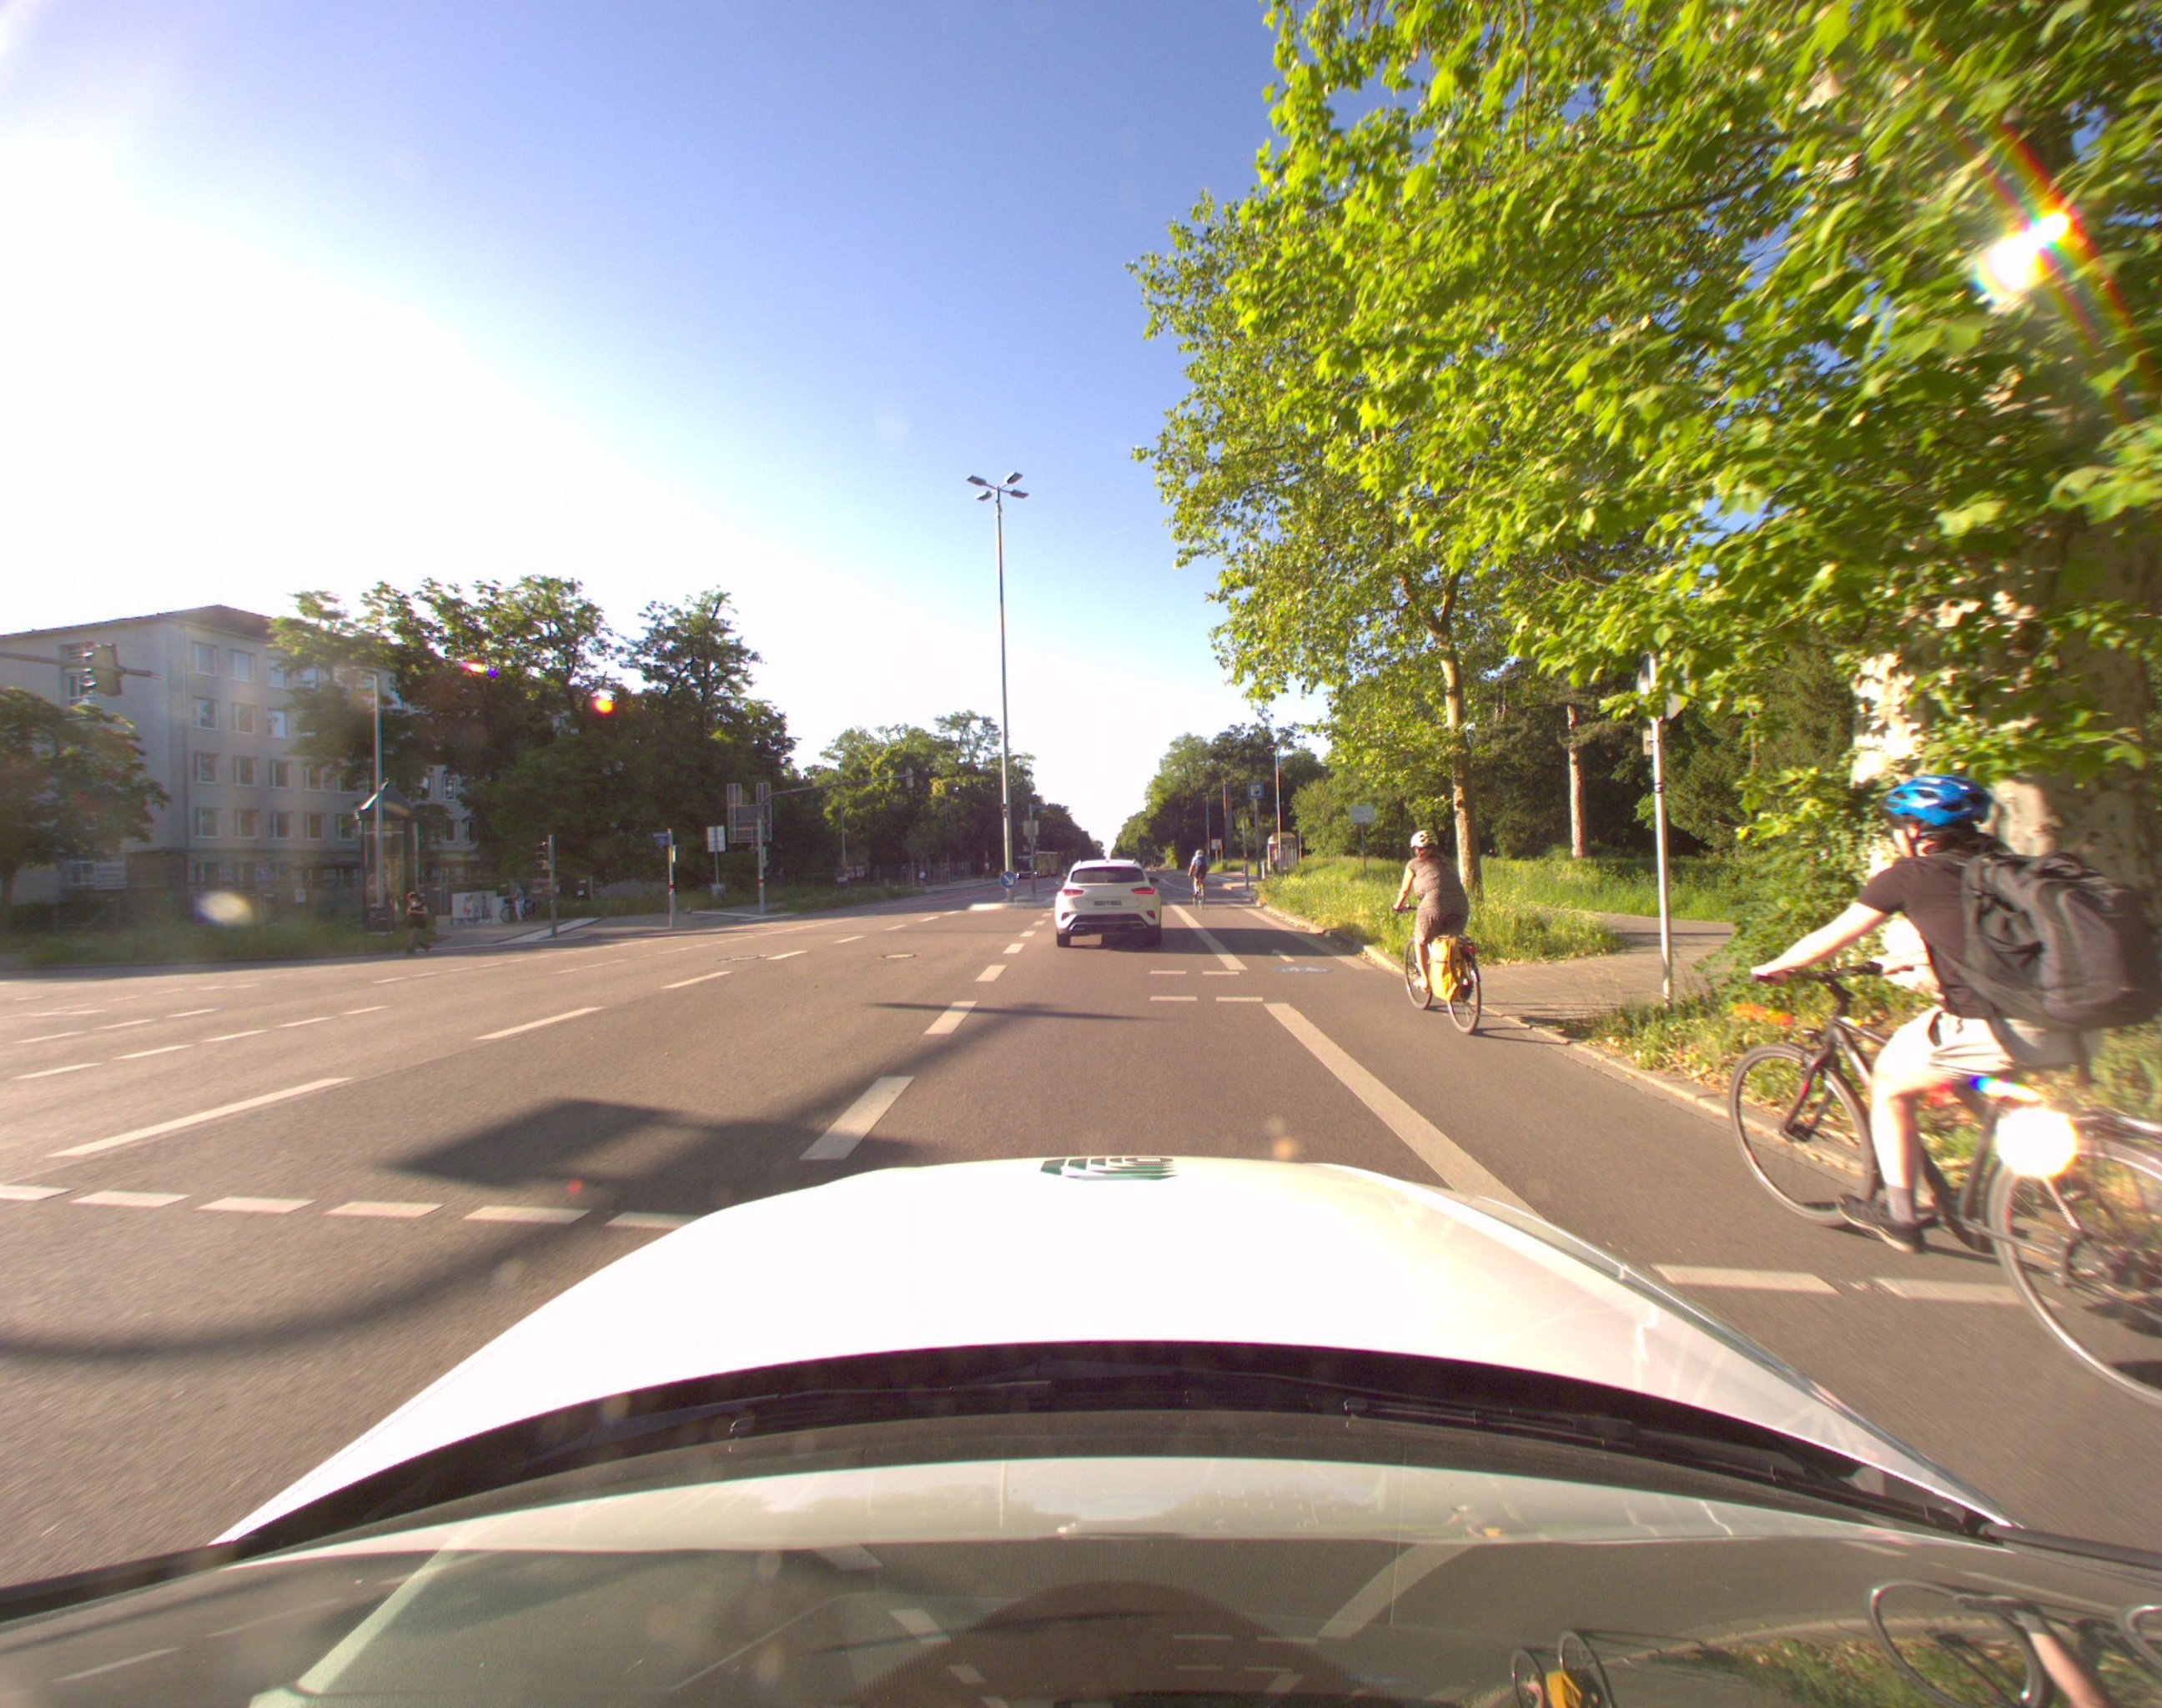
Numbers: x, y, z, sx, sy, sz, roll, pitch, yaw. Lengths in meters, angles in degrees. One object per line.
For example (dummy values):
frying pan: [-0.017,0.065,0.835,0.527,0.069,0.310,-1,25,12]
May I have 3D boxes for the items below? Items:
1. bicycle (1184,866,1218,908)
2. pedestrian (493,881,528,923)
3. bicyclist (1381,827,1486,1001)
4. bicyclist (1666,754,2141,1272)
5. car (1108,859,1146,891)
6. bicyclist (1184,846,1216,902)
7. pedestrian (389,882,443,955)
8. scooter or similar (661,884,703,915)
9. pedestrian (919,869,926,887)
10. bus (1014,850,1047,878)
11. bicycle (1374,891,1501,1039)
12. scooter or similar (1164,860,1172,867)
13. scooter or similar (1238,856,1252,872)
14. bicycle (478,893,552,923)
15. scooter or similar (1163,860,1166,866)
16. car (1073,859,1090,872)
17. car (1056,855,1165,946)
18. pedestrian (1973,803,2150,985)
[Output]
bicycle: [3.412,0.913,23.265,0.886,1.095,2.141,-1,0,8]
pedestrian: [-23.955,1.991,34.203,0.972,1.696,0.644,-3,-1,7]
bicyclist: [3.204,0.527,7.471,0.688,1.490,0.803,-3,-1,13]
bicyclist: [2.767,0.472,2.871,0.691,1.501,0.892,-3,-1,0]
car: [2.311,1.011,40.194,1.668,1.417,3.579,-3,-1,6]
bicyclist: [3.384,0.559,23.117,0.855,1.567,0.883,-1,-1,8]
pedestrian: [-17.257,1.656,21.146,0.738,1.816,0.729,-3,-1,11]
scooter or similar: [-17.852,2.040,36.421,0.686,1.294,1.505,-3,-1,32]
pedestrian: [-13.225,2.004,68.047,0.449,1.534,0.571,-3,-1,-1]
bus: [-6.110,1.250,99.924,2.827,3.197,8.609,-3,-1,4]
bicycle: [3.279,0.957,7.688,0.688,1.095,2.144,-3,-1,14]
scooter or similar: [16.259,1.789,152.464,1.549,1.250,0.528,-2,-1,-41]
scooter or similar: [13.832,0.842,68.575,0.715,1.247,1.336,-4,-2,26]
bicycle: [-24.095,2.283,34.675,2.557,1.136,0.982,-3,-1,7]
scooter or similar: [17.410,1.893,170.299,0.531,1.250,1.542,-2,-1,3]
car: [0.070,1.374,99.050,1.703,1.421,4.560,-3,0,4]
car: [0.450,0.786,15.179,1.756,1.459,3.815,-1,-1,-1]
pedestrian: [8.839,0.350,7.377,0.685,1.546,0.682,-3,-1,11]
